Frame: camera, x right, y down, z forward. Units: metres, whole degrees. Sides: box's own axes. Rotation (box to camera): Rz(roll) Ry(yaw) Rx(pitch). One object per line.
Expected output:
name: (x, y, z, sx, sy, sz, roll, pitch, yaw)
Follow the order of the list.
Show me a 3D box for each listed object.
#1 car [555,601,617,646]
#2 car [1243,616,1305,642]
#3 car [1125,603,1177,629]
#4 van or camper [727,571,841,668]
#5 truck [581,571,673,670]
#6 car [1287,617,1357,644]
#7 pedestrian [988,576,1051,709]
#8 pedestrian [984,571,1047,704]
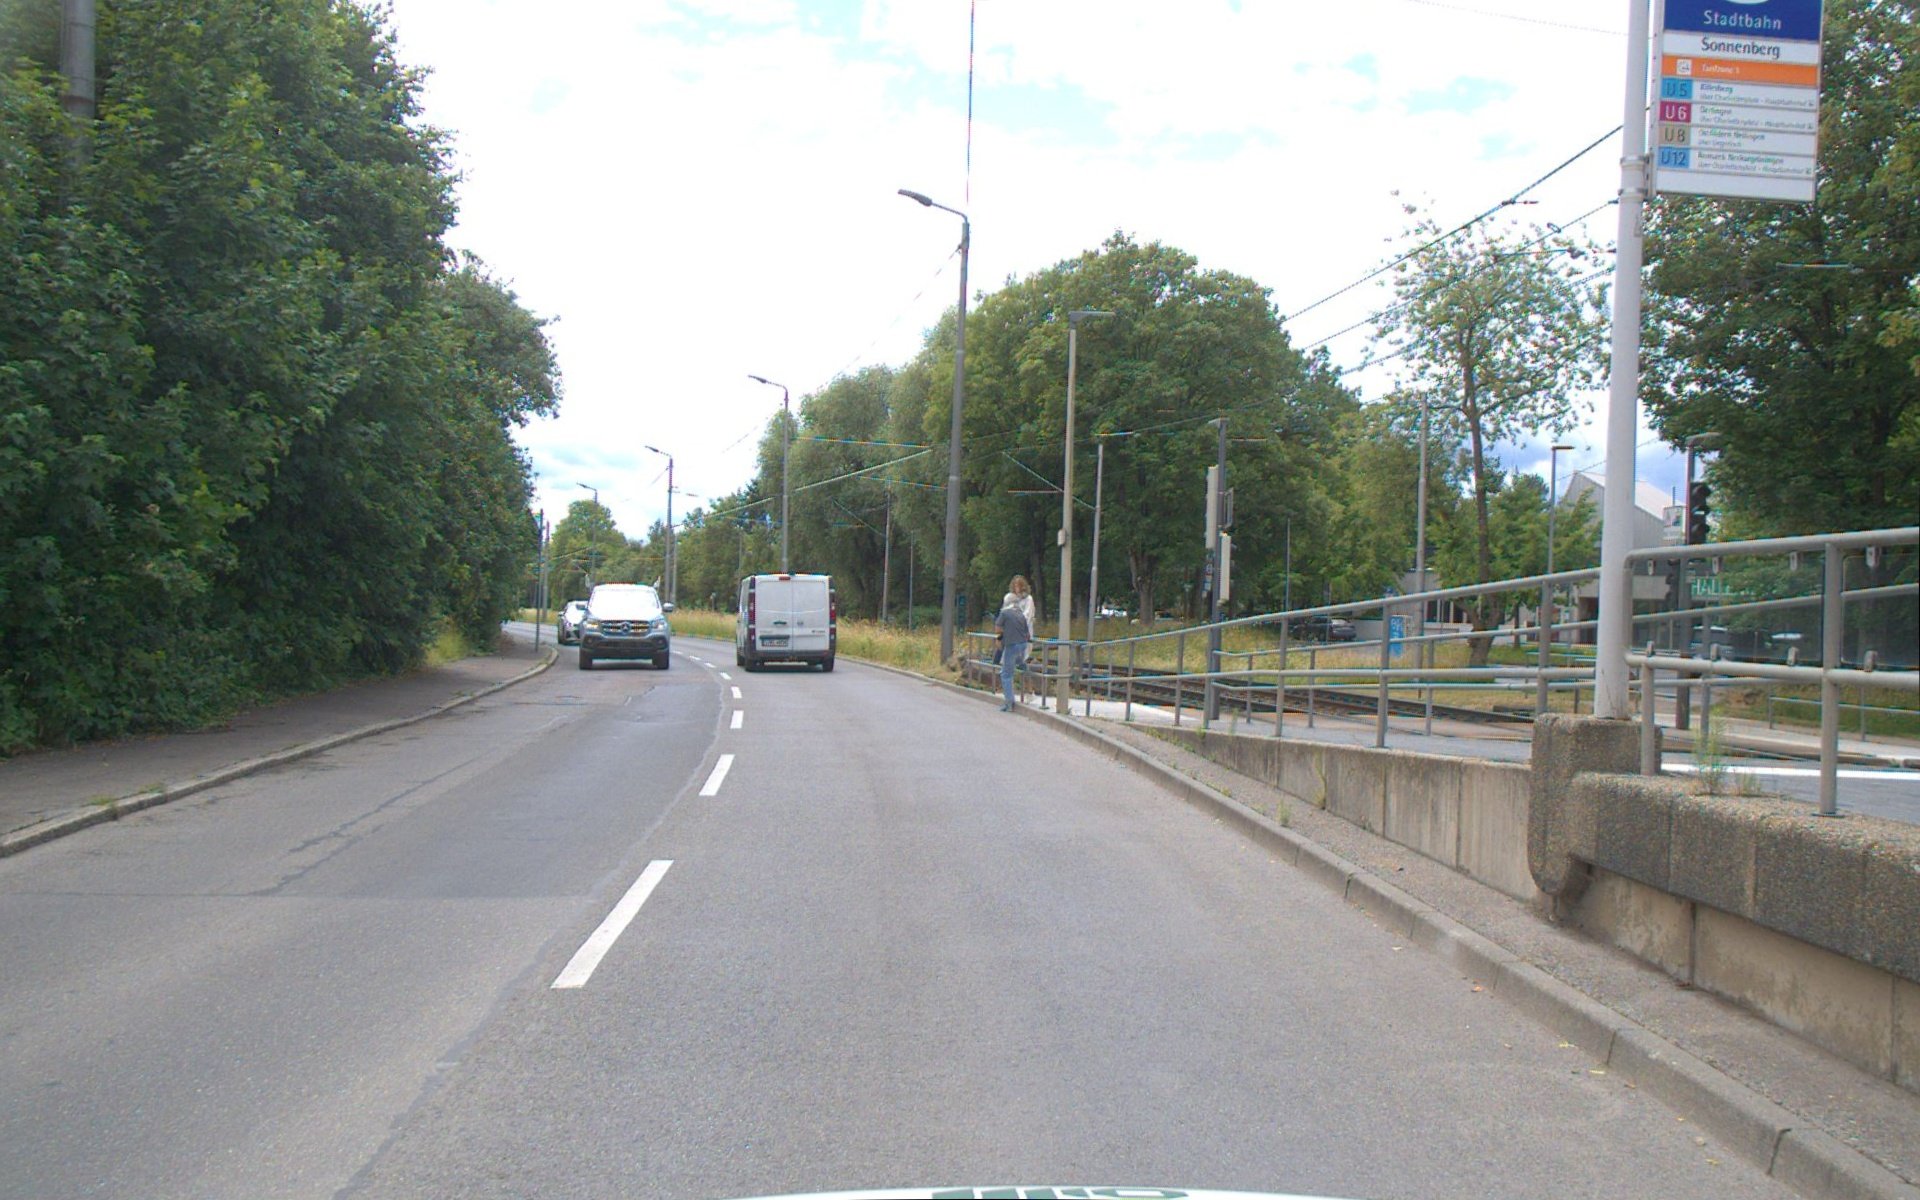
car: (-13.484, 0.830, 59.462, 1.898, 1.548, 4.638, -1, 0, -16)
car: (18.929, 1.762, 99.768, 1.963, 1.468, 3.978, 2, -1, -19)
car: (13.388, 1.108, 115.959, 1.963, 1.730, 4.206, 3, -1, -19)
van or camper: (-3.793, 0.421, 35.078, 1.908, 1.930, 4.270, 0, -1, -13)
truck: (-7.343, 0.432, 36.419, 1.815, 2.000, 4.943, 2, -1, -12)
car: (20.707, 1.744, 94.777, 1.963, 1.468, 4.322, 2, -1, -19)
pedestrian: (0.804, 0.586, 22.449, 0.469, 1.759, 0.792, 3, -3, -31)
pedestrian: (0.794, 0.544, 23.707, 0.651, 1.873, 0.591, 3, -3, -30)
